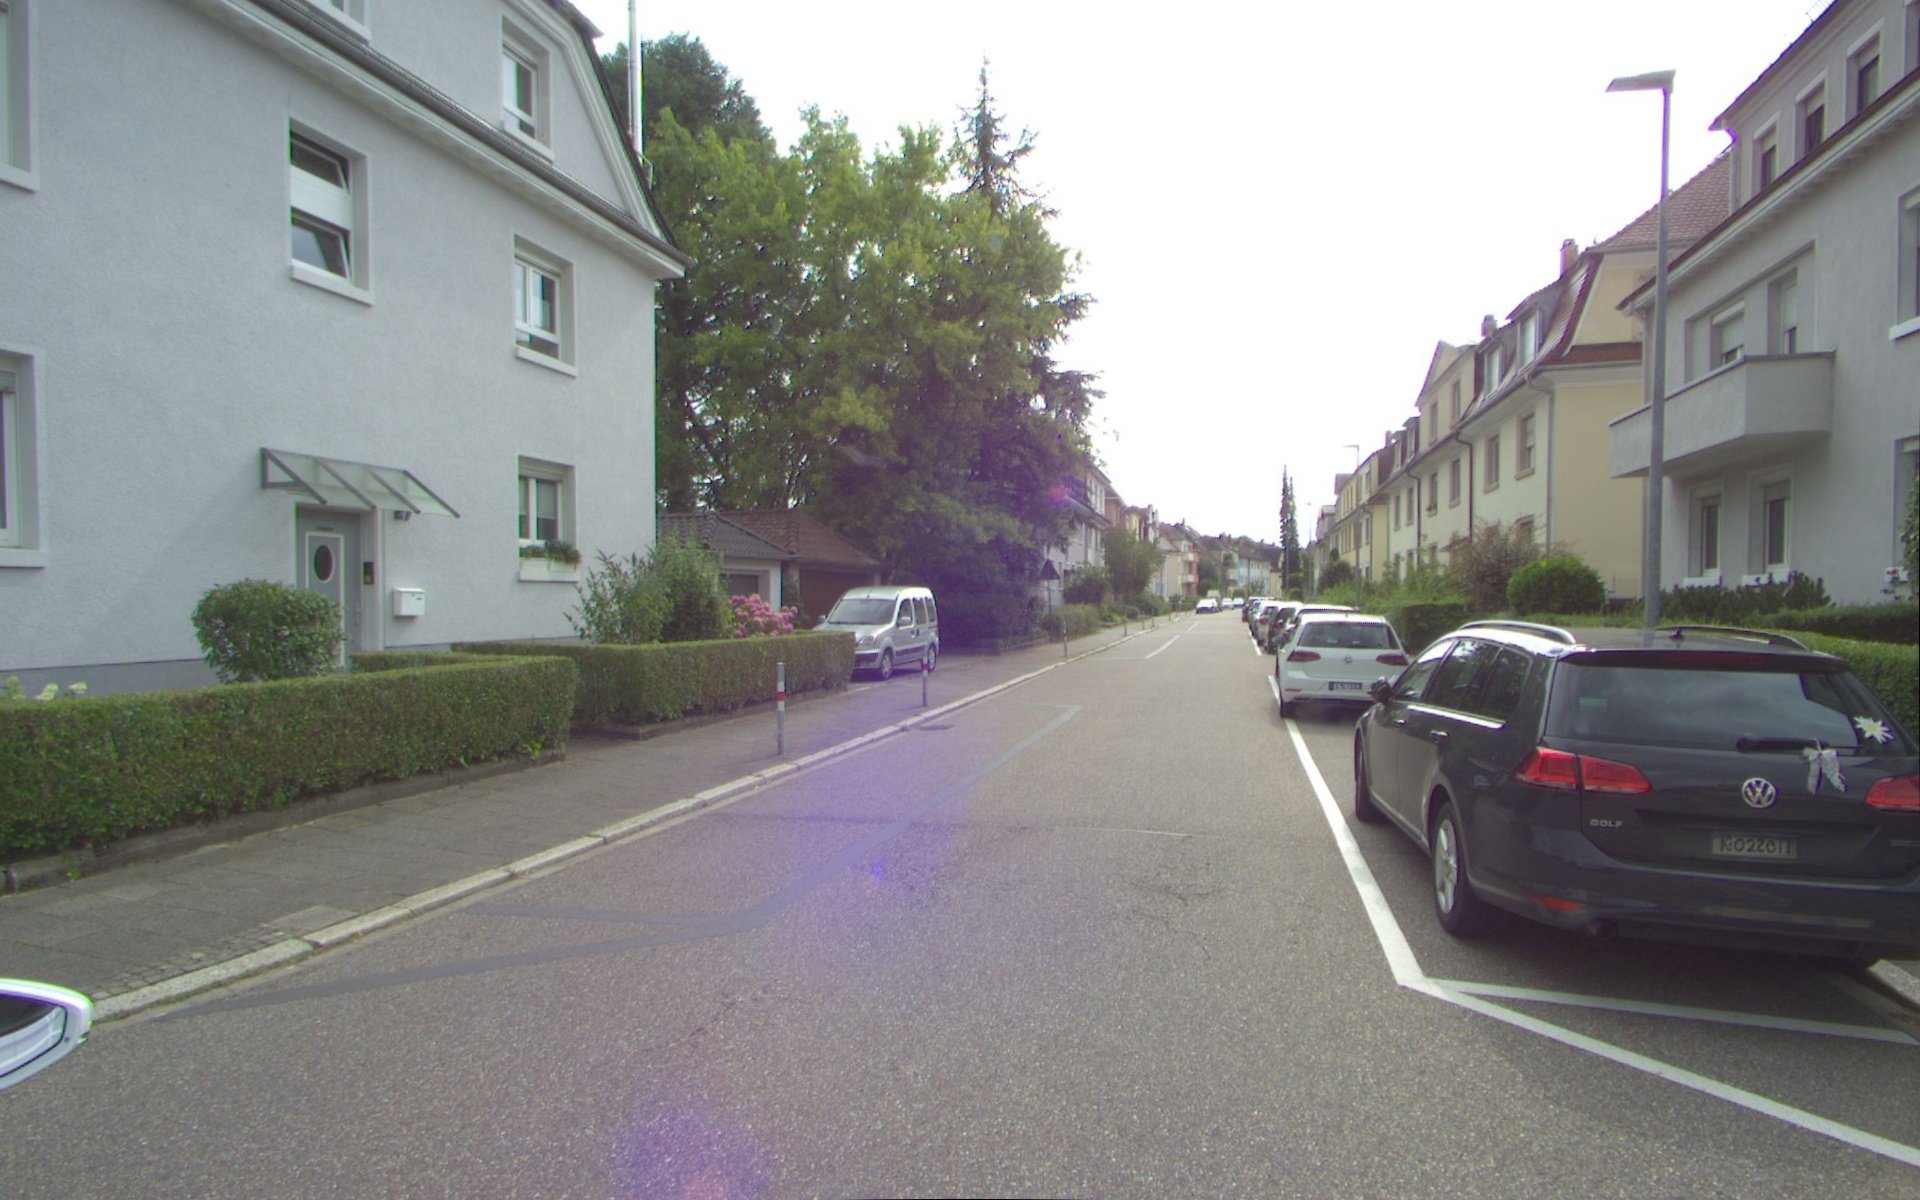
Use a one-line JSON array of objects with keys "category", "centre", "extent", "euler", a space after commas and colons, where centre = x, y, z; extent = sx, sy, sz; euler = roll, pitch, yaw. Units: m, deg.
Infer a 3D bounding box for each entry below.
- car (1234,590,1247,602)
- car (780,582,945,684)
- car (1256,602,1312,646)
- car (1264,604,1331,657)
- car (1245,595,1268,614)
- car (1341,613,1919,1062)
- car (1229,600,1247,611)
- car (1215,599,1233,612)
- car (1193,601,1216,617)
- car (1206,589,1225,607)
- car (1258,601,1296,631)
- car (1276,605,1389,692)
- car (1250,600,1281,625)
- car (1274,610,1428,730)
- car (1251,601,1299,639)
[{"category": "car", "centre": [49.779, -0.668, 177.890], "extent": [1.965, 2.152, 3.992], "euler": [0, 0, 19]}, {"category": "car", "centre": [-1.846, 0.600, 20.410], "extent": [1.964, 1.862, 3.993], "euler": [0, 0, 17]}, {"category": "car", "centre": [11.707, 0.829, 36.331], "extent": [1.826, 1.491, 4.168], "euler": [0, 0, 17]}, {"category": "car", "centre": [10.386, 0.877, 31.048], "extent": [1.826, 1.491, 4.168], "euler": [0, 0, 17]}, {"category": "car", "centre": [26.008, 0.363, 87.863], "extent": [1.826, 1.599, 4.169], "euler": [0, 0, 16]}, {"category": "car", "centre": [3.420, 0.847, 5.562], "extent": [1.825, 1.491, 4.171], "euler": [0, 0, 12]}, {"category": "car", "centre": [41.394, 0.810, 149.212], "extent": [1.967, 1.556, 3.987], "euler": [-1, 0, 24]}, {"category": "car", "centre": [35.940, 0.718, 136.315], "extent": [1.965, 1.662, 3.992], "euler": [0, 0, 19]}, {"category": "car", "centre": [26.617, 0.932, 108.943], "extent": [1.965, 1.662, 3.992], "euler": [0, 0, 19]}, {"category": "car", "centre": [30.739, -0.230, 120.565], "extent": [1.964, 2.040, 3.993], "euler": [0, 0, 18]}, {"category": "car", "centre": [16.634, 0.805, 52.702], "extent": [1.826, 1.491, 4.168], "euler": [0, 0, 17]}, {"category": "car", "centre": [7.258, 0.860, 19.854], "extent": [1.826, 1.491, 4.168], "euler": [0, 0, 17]}, {"category": "car", "centre": [19.565, 0.778, 64.214], "extent": [1.826, 1.491, 4.168], "euler": [0, 0, 17]}, {"category": "car", "centre": [5.733, 0.921, 15.129], "extent": [1.826, 1.491, 4.168], "euler": [0, 0, 17]}, {"category": "car", "centre": [13.219, 0.800, 42.074], "extent": [1.826, 1.491, 4.168], "euler": [0, 0, 17]}]
